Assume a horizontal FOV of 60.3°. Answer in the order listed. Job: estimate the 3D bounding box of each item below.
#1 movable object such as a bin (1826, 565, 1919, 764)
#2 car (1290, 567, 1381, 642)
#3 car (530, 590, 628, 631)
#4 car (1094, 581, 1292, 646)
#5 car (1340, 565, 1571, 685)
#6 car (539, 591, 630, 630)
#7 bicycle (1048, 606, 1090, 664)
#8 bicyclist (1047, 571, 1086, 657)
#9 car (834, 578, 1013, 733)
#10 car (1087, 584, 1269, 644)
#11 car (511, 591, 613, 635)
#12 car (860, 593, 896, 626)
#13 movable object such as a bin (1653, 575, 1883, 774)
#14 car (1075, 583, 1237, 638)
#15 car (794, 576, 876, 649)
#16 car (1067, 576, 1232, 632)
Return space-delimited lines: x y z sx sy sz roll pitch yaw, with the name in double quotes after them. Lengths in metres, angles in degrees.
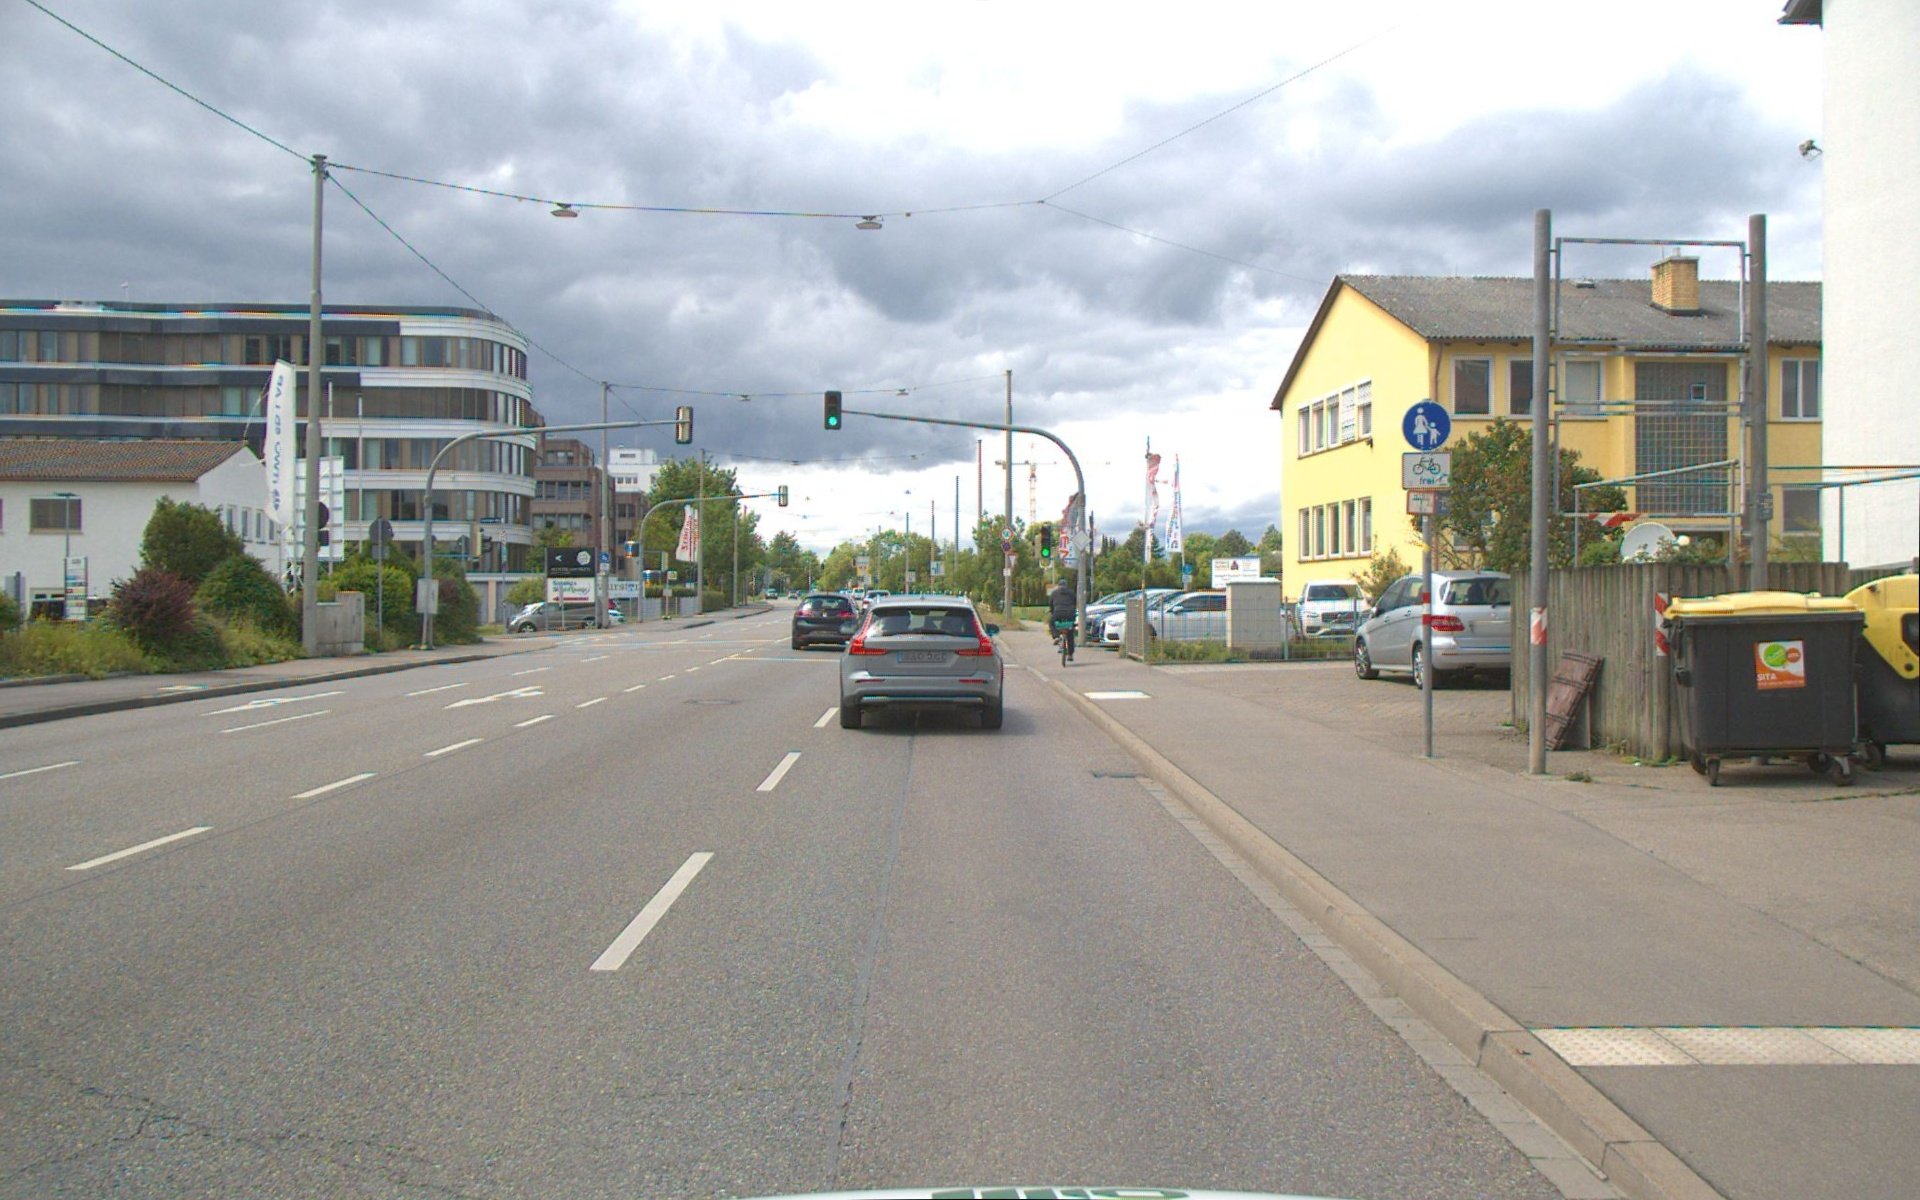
7.420 0.477 12.603 1.296 1.460 1.247 -1 -1 35 "movable object such as a bin"
9.919 0.138 43.975 1.934 1.853 5.034 -1 -1 8 "car"
-17.624 0.480 76.666 4.146 1.411 1.981 -6 0 -8 "car"
5.774 0.319 41.342 4.602 1.519 2.045 1 1 -2 "car"
7.089 0.306 24.165 1.838 1.572 4.519 -1 1 -3 "car"
-17.958 0.507 79.209 3.910 1.393 1.847 -6 0 -4 "car"
2.214 0.695 33.745 0.625 1.081 1.977 -4 0 -1 "bicycle"
2.186 0.275 33.904 0.625 1.704 0.890 -4 0 -1 "bicyclist"
-0.391 0.606 19.581 1.857 1.581 4.000 2 0 0 "car"
5.772 0.352 44.219 4.565 1.519 2.034 0 0 -2 "car"
-17.184 0.558 71.557 4.019 1.421 1.904 -6 2 -9 "car"
-4.593 0.544 93.309 1.953 1.724 3.998 2 0 -2 "car"
5.950 0.534 12.285 1.291 1.385 1.252 0 -1 15 "movable object such as a bin"
5.542 0.284 47.081 4.282 1.428 1.987 1 1 -3 "car"
-3.182 0.322 42.573 1.954 1.747 3.997 2 0 -4 "car"
5.683 0.108 49.975 4.702 1.506 2.032 2 0 0 "car"
